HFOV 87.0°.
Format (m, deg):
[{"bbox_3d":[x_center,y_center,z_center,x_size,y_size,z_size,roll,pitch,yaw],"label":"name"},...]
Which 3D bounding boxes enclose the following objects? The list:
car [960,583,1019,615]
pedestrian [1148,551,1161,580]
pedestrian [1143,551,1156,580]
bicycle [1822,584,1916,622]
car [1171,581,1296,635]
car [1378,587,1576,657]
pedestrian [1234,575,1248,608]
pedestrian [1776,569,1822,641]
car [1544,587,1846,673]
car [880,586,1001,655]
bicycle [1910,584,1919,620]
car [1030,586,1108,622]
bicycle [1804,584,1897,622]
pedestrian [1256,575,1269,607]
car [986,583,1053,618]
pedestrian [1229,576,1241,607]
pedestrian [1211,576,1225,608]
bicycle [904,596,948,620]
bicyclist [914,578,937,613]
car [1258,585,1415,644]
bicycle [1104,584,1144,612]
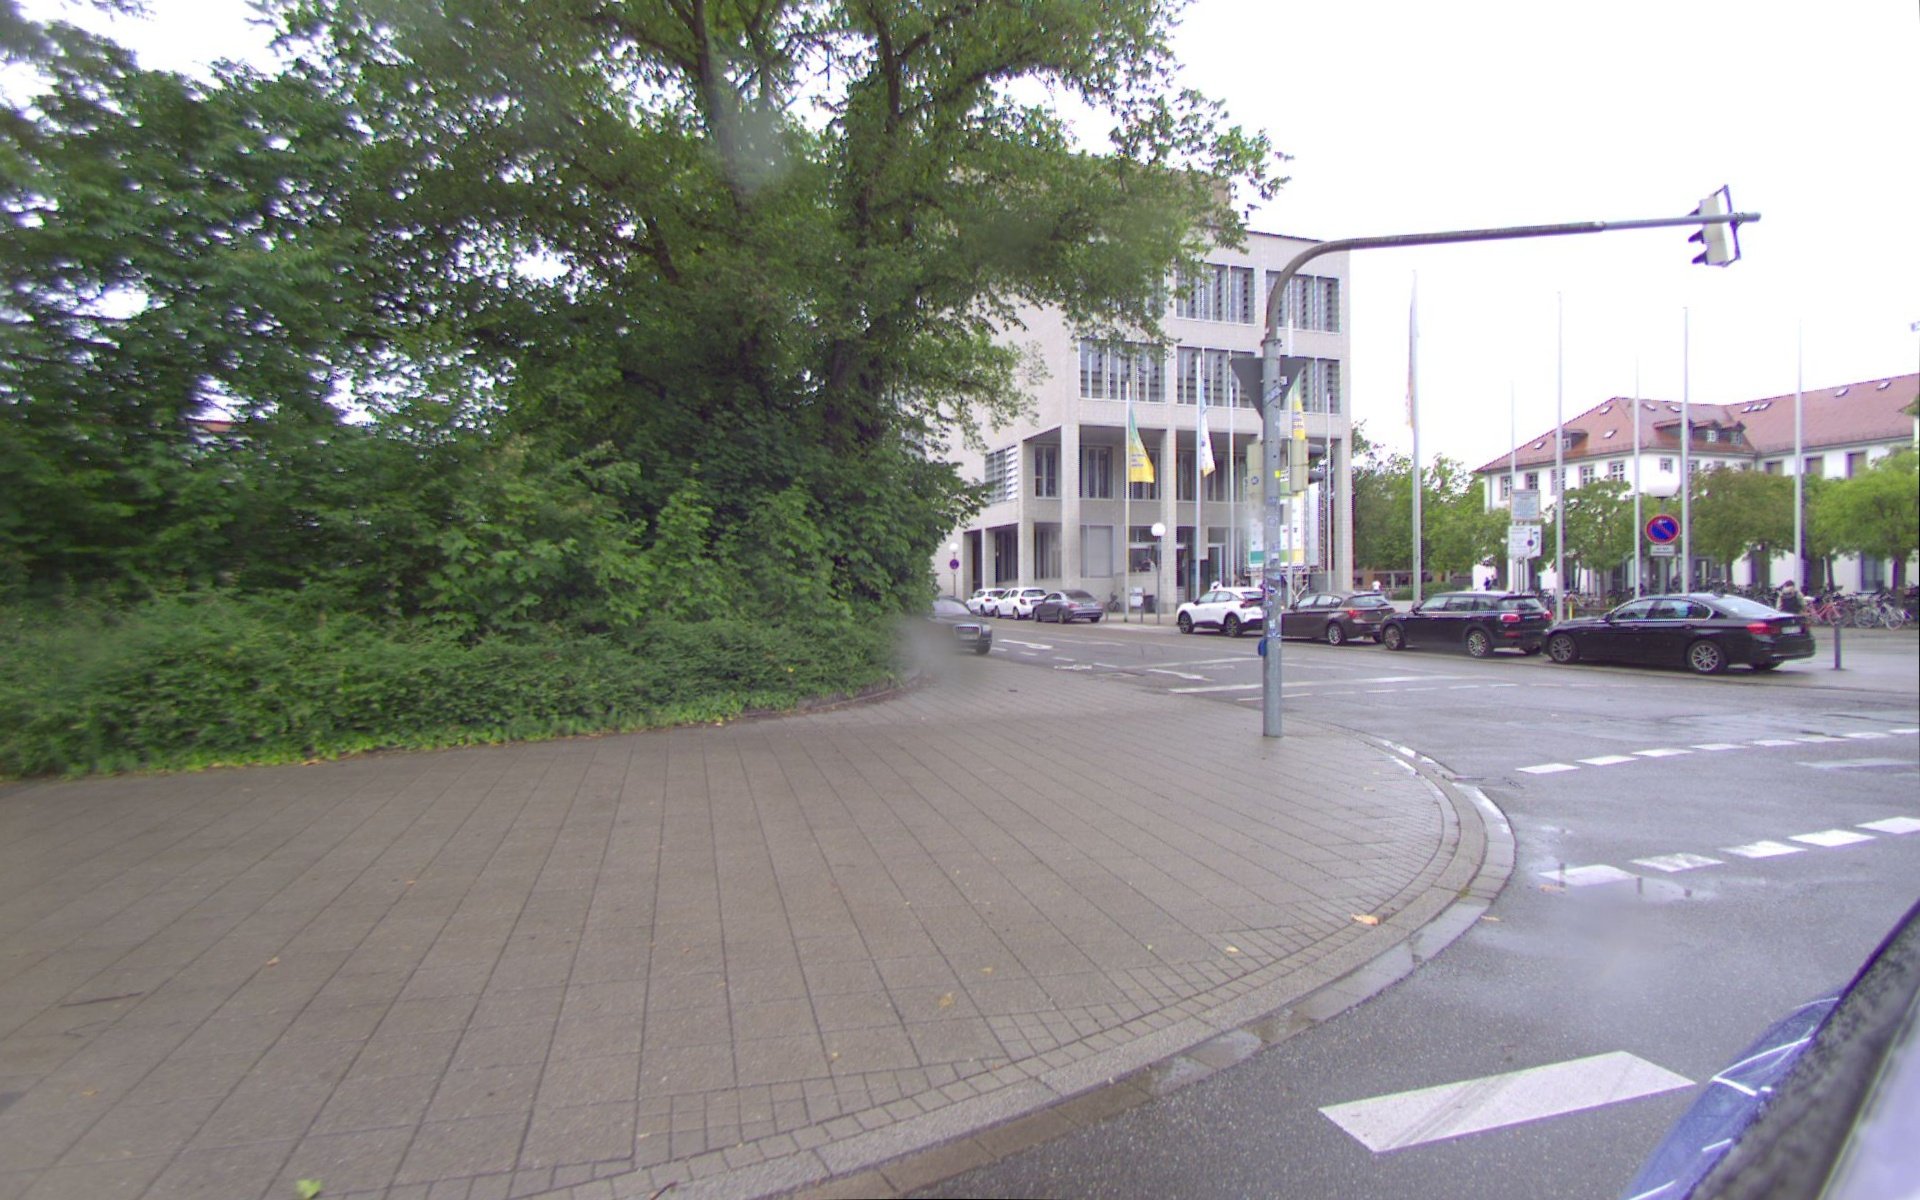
[{"bbox_3d":[1.501,-0.052,53.930,1.736,1.536,4.109,-3,1,-19],"label":"car"},{"bbox_3d":[10.273,-1.802,53.414,0.560,1.535,0.539,0,0,24],"label":"pedestrian"},{"bbox_3d":[9.897,-1.792,52.770,0.560,1.535,0.539,0,0,22],"label":"pedestrian"},{"bbox_3d":[30.673,0.075,34.204,0.587,1.237,2.289,0,0,-29],"label":"bicycle"},{"bbox_3d":[8.813,0.234,32.930,1.737,1.536,4.108,-3,1,-22],"label":"car"},{"bbox_3d":[11.971,0.446,23.737,1.736,1.395,4.025,-3,1,-18],"label":"car"},{"bbox_3d":[13.440,-0.409,48.435,0.533,1.535,0.566,0,0,3],"label":"pedestrian"},{"bbox_3d":[20.963,0.118,25.275,0.846,1.760,1.107,-1,0,41],"label":"pedestrian"},{"bbox_3d":[13.753,0.492,19.293,1.736,1.354,4.399,-3,1,-20],"label":"car"},{"bbox_3d":[-0.594,0.453,26.260,1.736,1.536,4.109,-1,2,-23],"label":"car"},{"bbox_3d":[33.481,0.066,33.948,0.587,1.237,2.289,0,0,-29],"label":"bicycle"},{"bbox_3d":[4.689,0.138,44.174,1.736,1.419,4.109,-3,1,-19],"label":"car"},{"bbox_3d":[29.924,0.096,34.041,0.587,1.237,2.289,0,0,-29],"label":"bicycle"},{"bbox_3d":[14.819,-0.432,49.590,0.461,1.535,0.566,0,0,3],"label":"pedestrian"},{"bbox_3d":[2.859,-0.009,49.408,1.736,1.536,4.109,-3,1,-19],"label":"car"},{"bbox_3d":[13.471,-0.423,49.556,0.461,1.535,0.566,0,0,3],"label":"pedestrian"},{"bbox_3d":[12.396,-0.404,48.669,0.533,1.535,0.566,0,0,3],"label":"pedestrian"},{"bbox_3d":[-1.614,0.359,47.990,1.970,1.111,0.799,0,0,17],"label":"bicycle"},{"bbox_3d":[-1.634,-0.207,47.997,0.878,1.644,0.799,0,0,16],"label":"bicyclist"},{"bbox_3d":[10.421,0.354,28.377,1.736,1.416,4.246,-3,1,-20],"label":"car"},{"bbox_3d":[8.335,-0.116,51.561,0.904,1.346,2.976,0,0,-13],"label":"bicycle"}]
